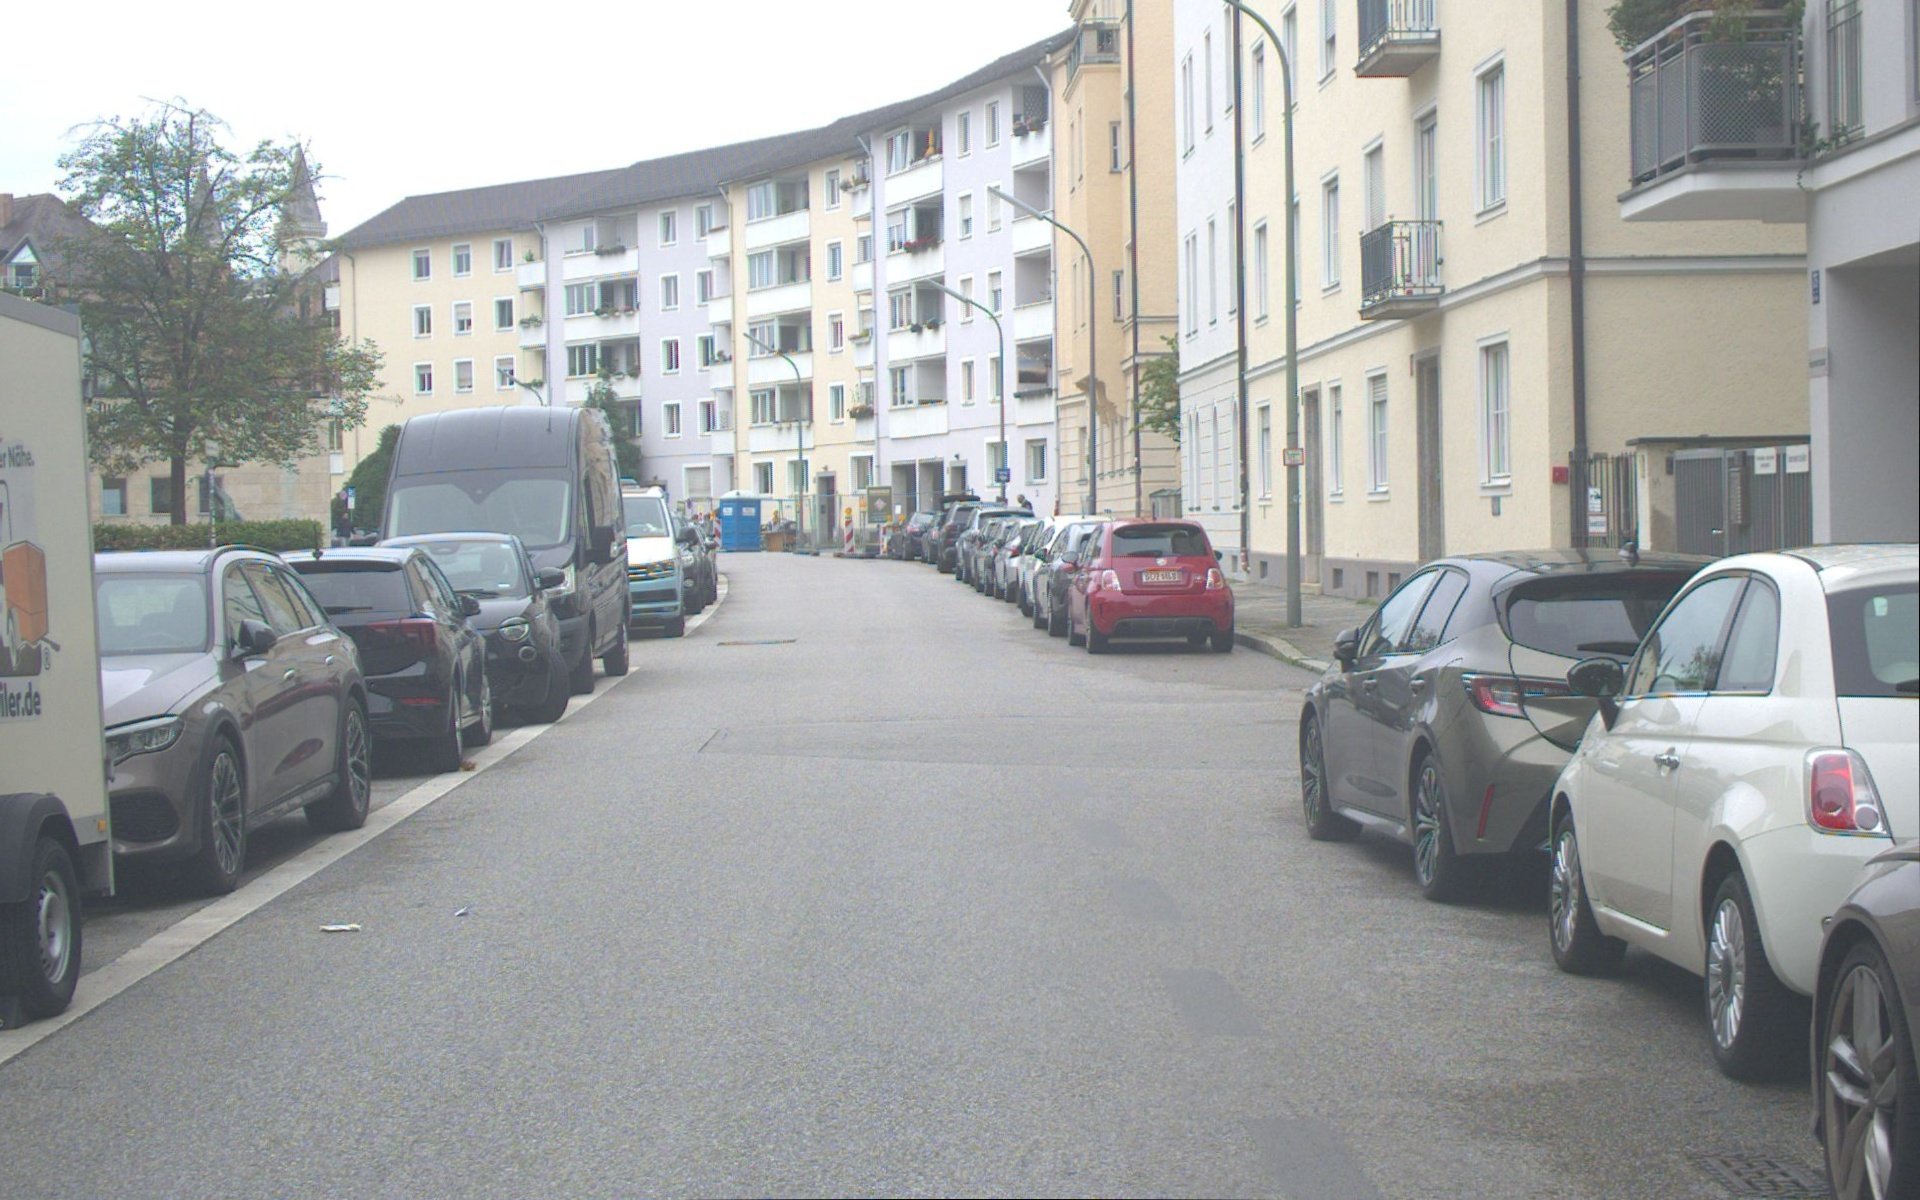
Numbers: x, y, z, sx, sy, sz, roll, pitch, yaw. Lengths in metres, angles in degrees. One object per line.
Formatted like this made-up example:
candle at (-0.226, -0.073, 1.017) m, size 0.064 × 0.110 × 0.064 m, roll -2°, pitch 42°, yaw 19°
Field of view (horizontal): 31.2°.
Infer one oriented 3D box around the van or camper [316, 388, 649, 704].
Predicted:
van or camper at (-4.408, -0.552, 32.713) m, size 2.293 × 2.641 × 5.562 m, roll -3°, pitch 2°, yaw 0°

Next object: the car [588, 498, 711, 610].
car at (-5.017, -0.778, 55.997) m, size 1.714 × 1.683 × 4.141 m, roll -2°, pitch 2°, yaw -2°

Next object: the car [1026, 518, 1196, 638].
car at (1.892, -0.323, 44.283) m, size 1.773 × 1.425 × 4.616 m, roll 0°, pitch 2°, yaw -3°

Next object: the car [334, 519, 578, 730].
car at (-3.988, 0.136, 27.702) m, size 1.652 × 1.492 × 3.910 m, roll -3°, pitch 2°, yaw -5°

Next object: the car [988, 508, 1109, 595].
car at (1.512, -0.868, 60.097) m, size 1.724 × 1.445 × 4.188 m, roll 0°, pitch 2°, yaw -4°

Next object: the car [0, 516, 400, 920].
car at (-4.043, 0.432, 16.197) m, size 1.863 × 1.536 × 5.092 m, roll -2°, pitch 2°, yaw 1°

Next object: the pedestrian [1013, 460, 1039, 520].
pedestrian at (1.916, -3.199, 99.966) m, size 0.617 × 1.684 × 0.919 m, roll -4°, pitch 1°, yaw -2°

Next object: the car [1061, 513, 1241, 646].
car at (2.136, -0.269, 39.309) m, size 1.654 × 1.425 × 3.757 m, roll 0°, pitch 2°, yaw -3°

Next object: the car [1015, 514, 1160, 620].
car at (1.810, -0.511, 49.854) m, size 1.724 × 1.425 × 4.294 m, roll 0°, pitch 2°, yaw -3°

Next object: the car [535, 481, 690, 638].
car at (-4.591, -0.592, 45.699) m, size 1.914 × 1.953 × 4.963 m, roll -1°, pitch 2°, yaw -5°

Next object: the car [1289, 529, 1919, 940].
car at (2.655, 0.458, 14.990) m, size 1.771 × 1.470 × 4.219 m, roll -1°, pitch 2°, yaw -4°

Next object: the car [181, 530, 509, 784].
car at (-4.026, 0.302, 23.102) m, size 1.675 × 1.431 × 4.288 m, roll -3°, pitch 2°, yaw -4°

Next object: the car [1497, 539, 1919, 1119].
car at (2.840, 0.569, 10.873) m, size 1.617 × 1.462 × 3.747 m, roll 0°, pitch 2°, yaw -1°

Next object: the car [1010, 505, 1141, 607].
car at (1.805, -0.734, 54.780) m, size 1.650 × 1.538 × 3.994 m, roll 0°, pitch 2°, yaw -4°

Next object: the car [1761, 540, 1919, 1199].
car at (2.795, 0.671, 5.372) m, size 1.791 × 1.477 × 4.604 m, roll 0°, pitch 1°, yaw -3°

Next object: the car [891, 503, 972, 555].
car at (-0.874, -2.122, 101.579) m, size 1.908 × 1.472 × 4.948 m, roll 0°, pitch 2°, yaw -6°

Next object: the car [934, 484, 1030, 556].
car at (0.511, -2.000, 85.131) m, size 2.169 × 1.733 × 5.025 m, roll 0°, pitch 2°, yaw -2°

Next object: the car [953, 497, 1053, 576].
car at (0.898, -1.408, 74.885) m, size 1.846 × 1.658 × 4.499 m, roll 0°, pitch 2°, yaw -4°

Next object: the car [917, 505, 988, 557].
car at (-0.226, -1.928, 95.331) m, size 1.630 × 1.412 × 3.680 m, roll 0°, pitch 2°, yaw -5°

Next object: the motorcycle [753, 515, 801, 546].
motorcycle at (-7.126, -2.708, 133.723) m, size 0.931 × 1.217 × 2.507 m, roll -1°, pitch 1°, yaw -26°

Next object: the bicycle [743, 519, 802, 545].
bicycle at (-7.739, -2.808, 141.775) m, size 2.232 × 1.066 × 0.920 m, roll -1°, pitch 1°, yaw -26°

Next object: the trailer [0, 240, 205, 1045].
trailer at (-3.944, 0.167, 10.489) m, size 1.976 × 2.463 × 4.576 m, roll -4°, pitch 1°, yaw 2°
